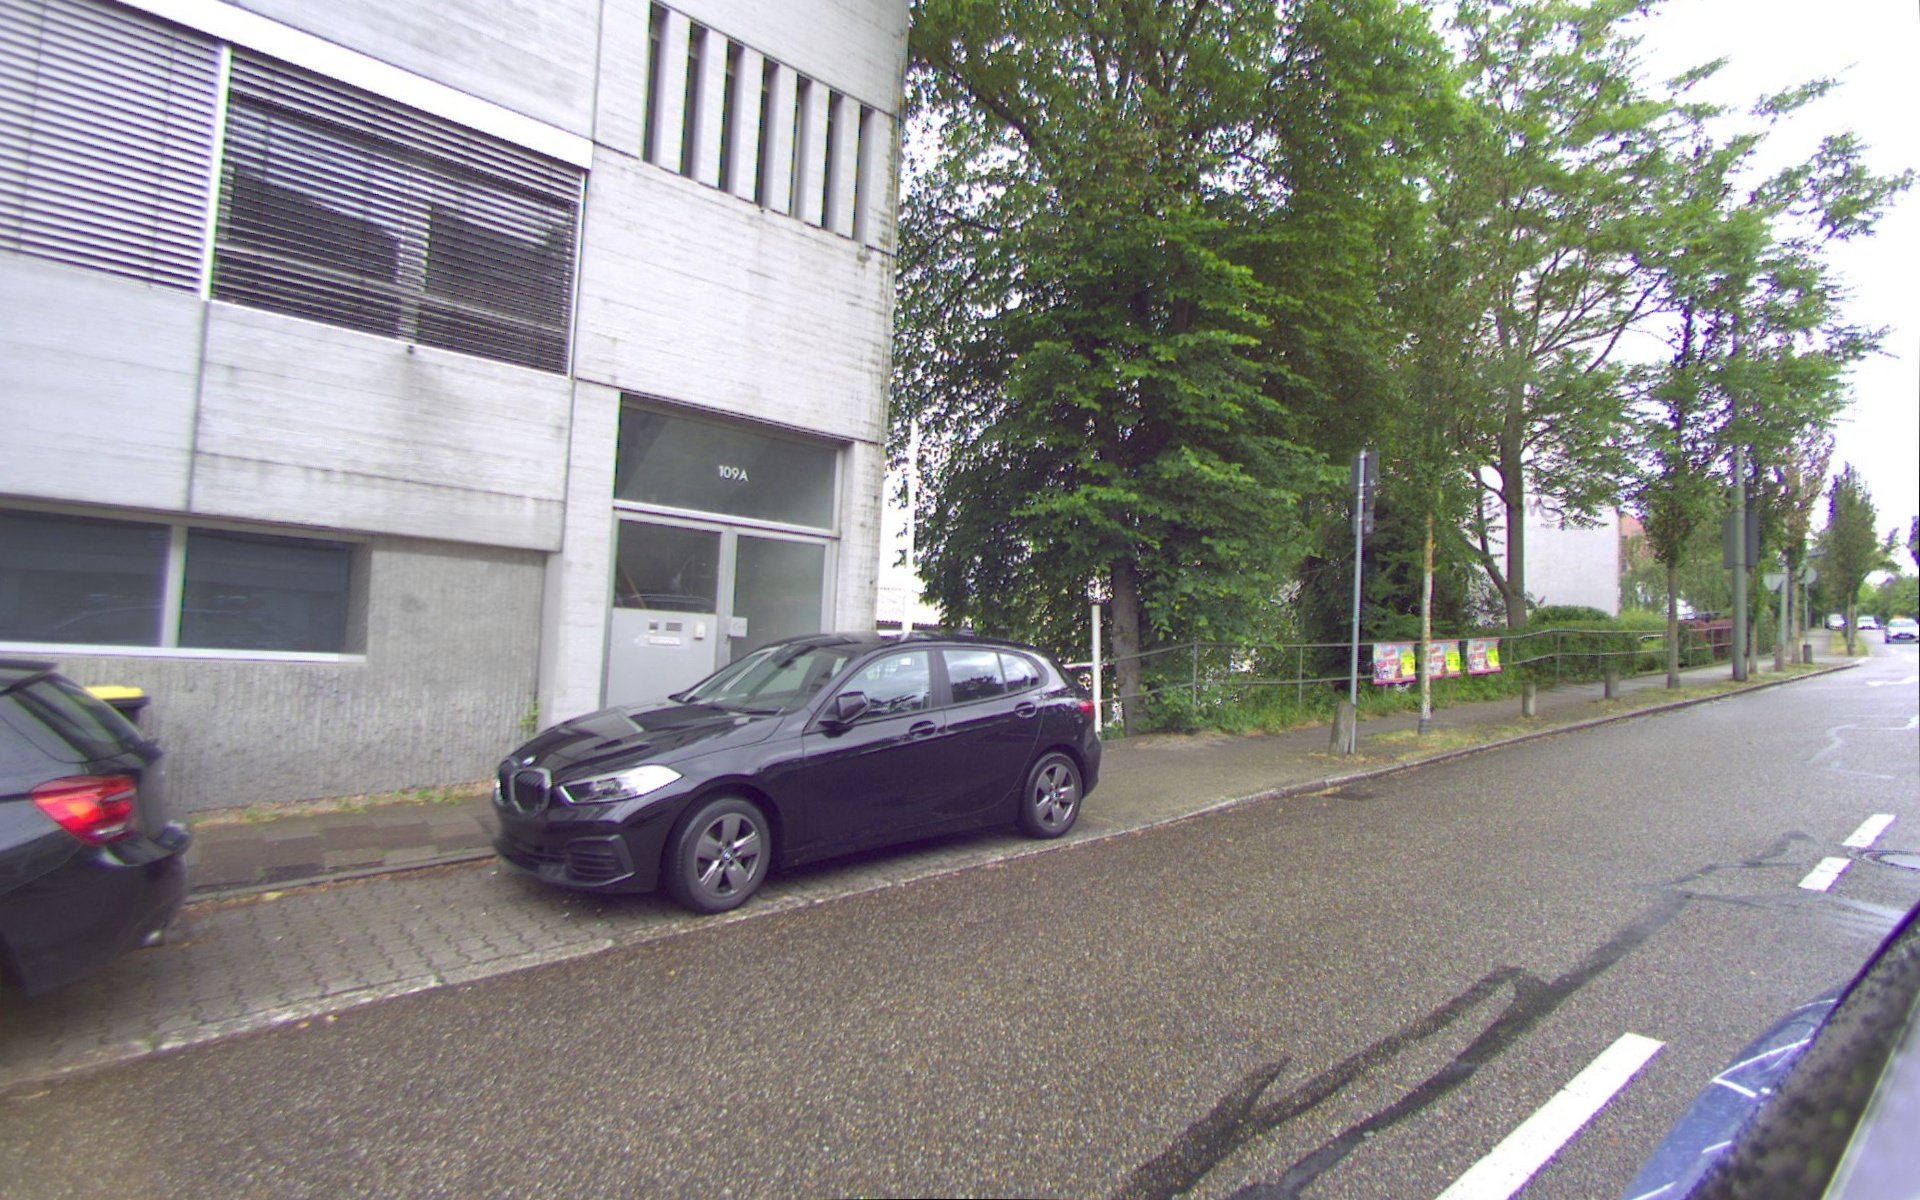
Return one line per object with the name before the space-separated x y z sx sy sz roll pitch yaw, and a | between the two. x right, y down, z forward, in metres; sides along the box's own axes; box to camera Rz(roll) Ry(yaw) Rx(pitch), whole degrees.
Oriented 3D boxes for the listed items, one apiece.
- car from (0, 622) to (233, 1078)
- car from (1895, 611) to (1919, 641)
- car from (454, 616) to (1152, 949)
car | -4.884 0.850 3.169 4.173 1.466 1.753 0 0 -38
car | 60.301 1.605 63.760 1.886 1.741 4.174 2 2 41
car | -0.819 0.881 6.929 4.367 1.453 1.996 0 1 -43
